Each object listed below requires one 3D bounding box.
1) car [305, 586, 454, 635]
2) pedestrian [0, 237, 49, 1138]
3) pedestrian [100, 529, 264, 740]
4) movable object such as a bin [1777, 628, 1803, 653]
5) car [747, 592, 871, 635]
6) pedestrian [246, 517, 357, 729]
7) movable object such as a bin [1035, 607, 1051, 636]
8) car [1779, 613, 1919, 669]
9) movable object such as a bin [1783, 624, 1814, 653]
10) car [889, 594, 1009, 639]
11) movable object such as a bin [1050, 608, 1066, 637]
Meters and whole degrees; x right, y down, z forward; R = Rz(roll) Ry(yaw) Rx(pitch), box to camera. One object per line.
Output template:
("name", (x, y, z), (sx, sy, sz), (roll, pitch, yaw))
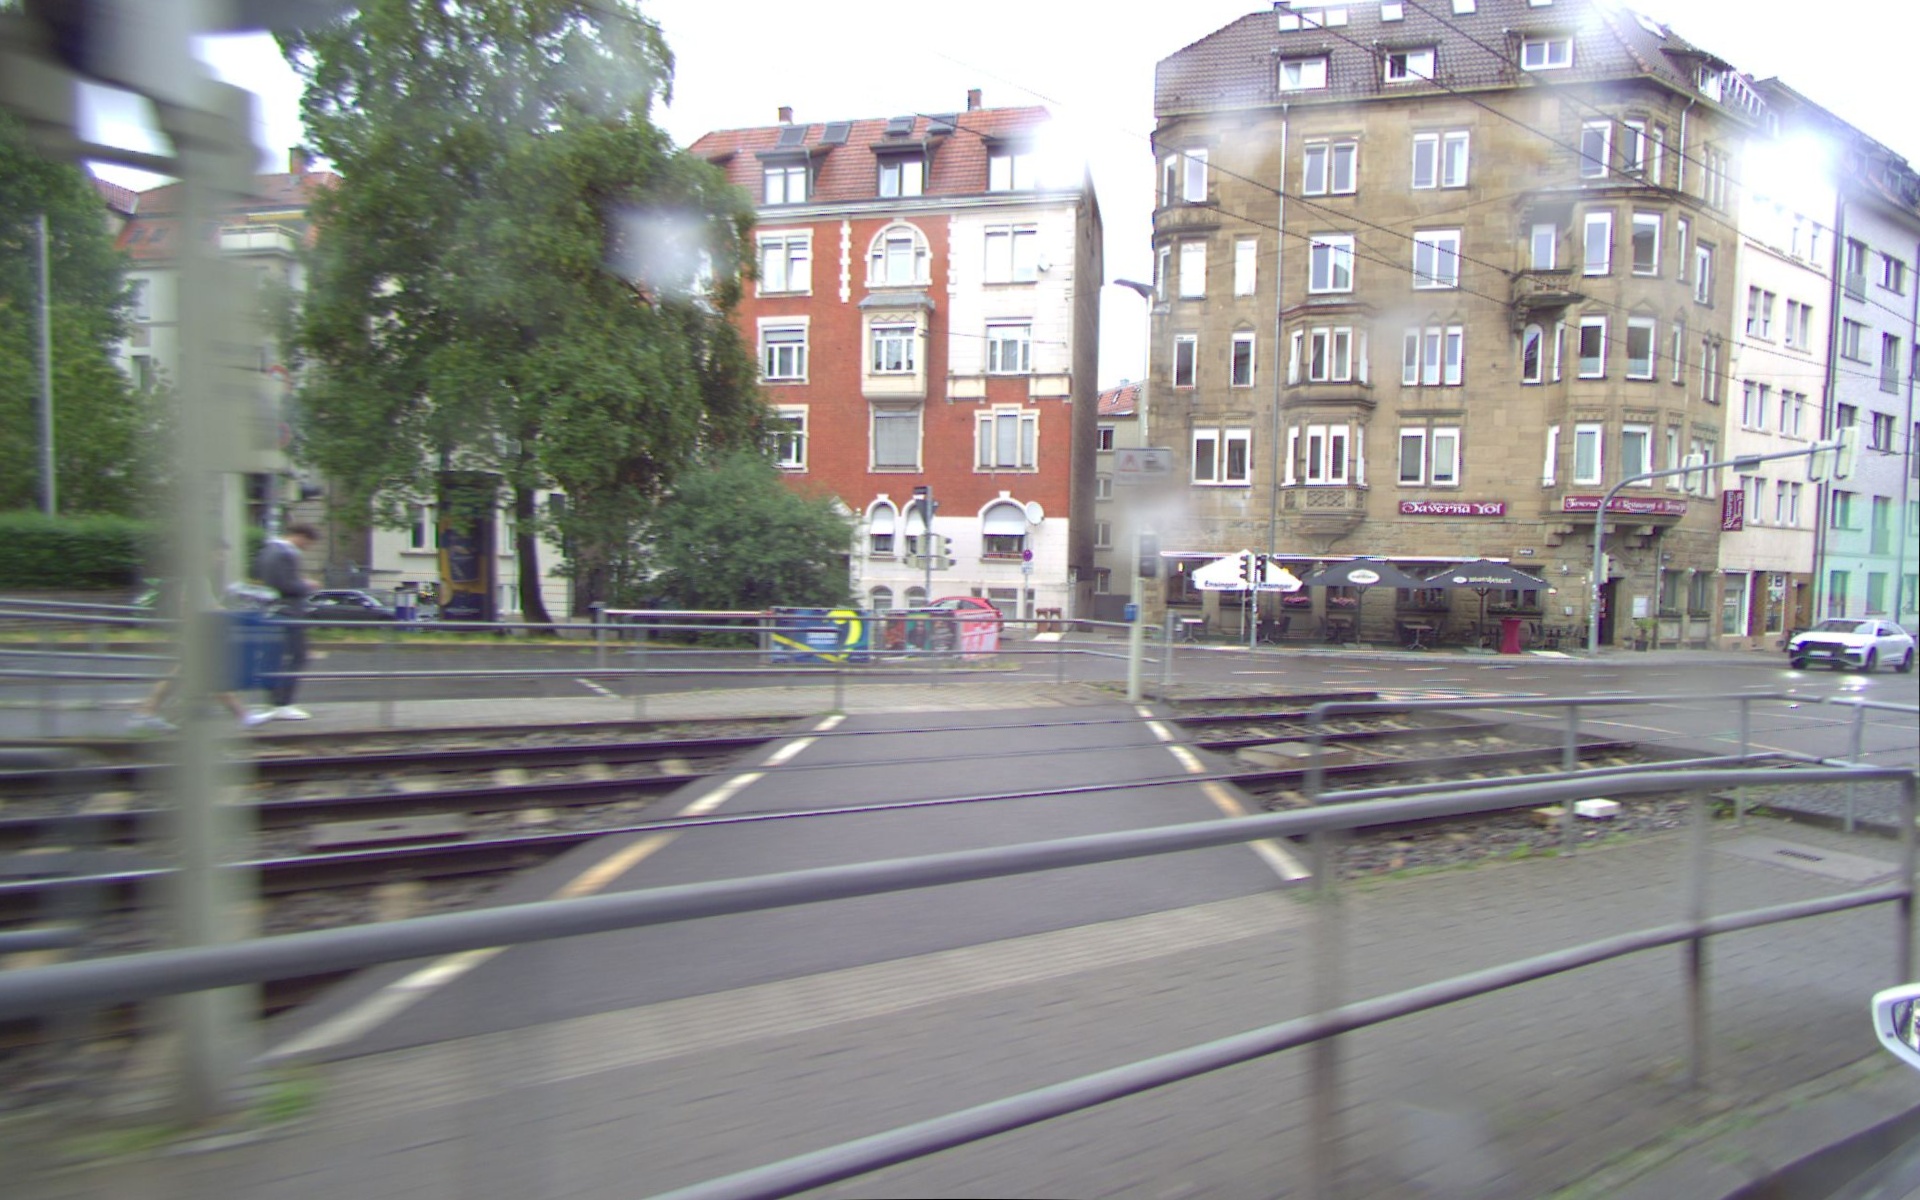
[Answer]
("car", (-18.527, 0.321, 32.128), (3.919, 1.421, 1.743), (1, 0, 12))
("pedestrian", (-2.496, 0.217, 1.905), (0.936, 2.041, 0.892), (1, 1, -30))
("pedestrian", (-6.280, 0.261, 8.163), (0.945, 1.604, 0.689), (1, 2, -31))
("movable object such as a bin", (33.759, 1.649, 40.867), (0.554, 0.923, 0.590), (2, 4, -31))
("car", (-5.463, 0.475, 36.544), (4.083, 1.421, 1.743), (1, 0, 12))
("pedestrian", (-5.969, 0.201, 9.136), (0.790, 1.843, 0.508), (1, 2, -30))
("movable object such as a bin", (3.119, 0.817, 37.868), (0.540, 1.056, 0.722), (2, 0, 1))
("car", (28.595, 1.294, 32.163), (5.192, 1.649, 1.984), (2, 0, -31))
("movable object such as a bin", (34.346, 1.584, 41.124), (0.679, 1.088, 0.709), (2, 4, -31))
("car", (-0.354, 0.568, 35.472), (3.919, 1.421, 1.743), (1, 0, 12))
("movable object such as a bin", (3.702, 0.840, 38.003), (0.540, 1.056, 0.722), (2, 0, 1))
